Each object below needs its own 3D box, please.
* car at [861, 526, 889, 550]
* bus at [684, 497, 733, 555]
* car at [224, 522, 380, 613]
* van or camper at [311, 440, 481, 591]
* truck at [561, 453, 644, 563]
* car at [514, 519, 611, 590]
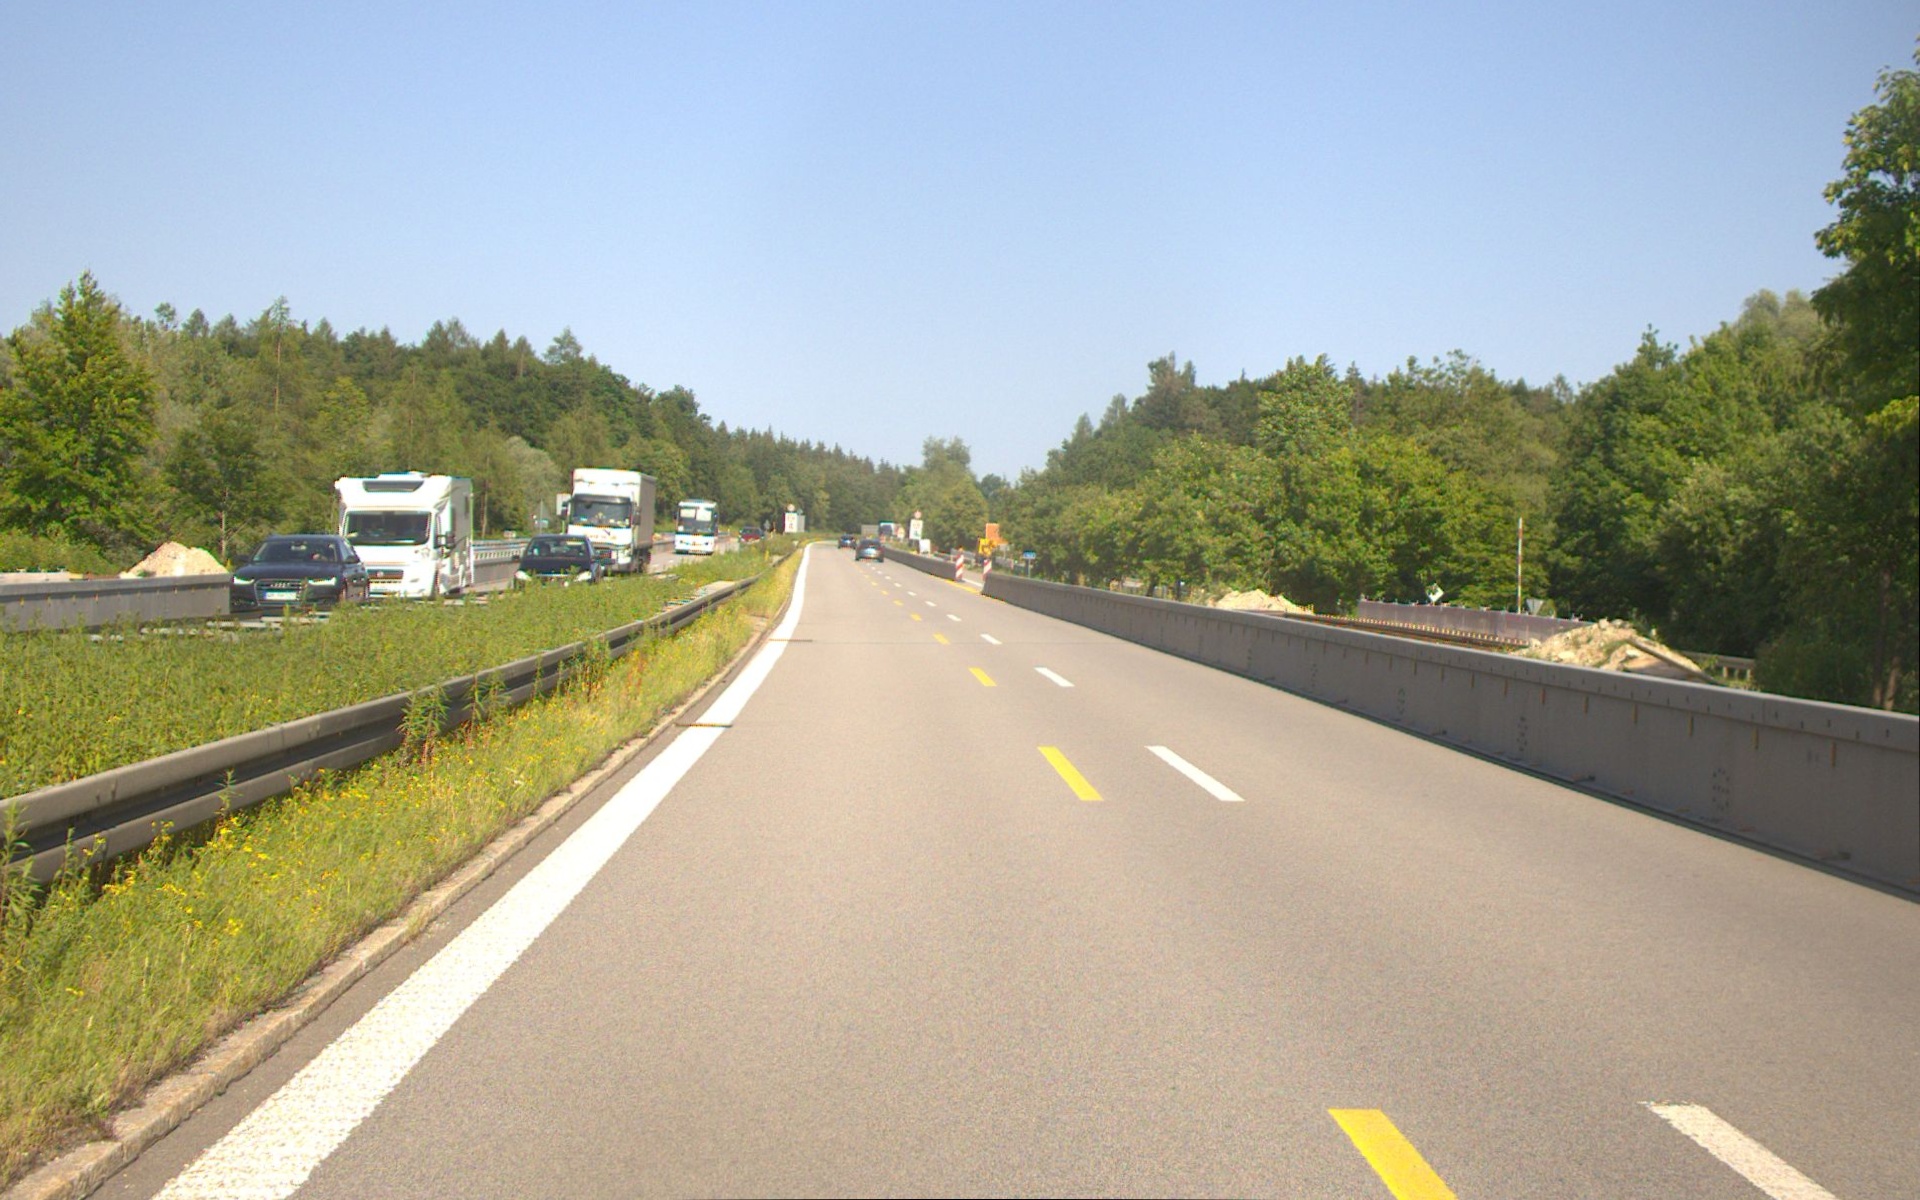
[{"bbox_3d":[-5.554,-4.074,224.763,1.743,1.461,4.294,2,1,-2],"label":"car"},{"bbox_3d":[-16.835,-4.994,231.099,2.881,3.658,12.920,3,1,-3],"label":"bus"},{"bbox_3d":[-11.153,-0.579,58.590,1.741,1.427,5.236,-2,1,-1],"label":"car"},{"bbox_3d":[-11.737,-1.751,72.142,2.406,2.940,7.523,1,1,-1],"label":"van or camper"},{"bbox_3d":[-13.640,-3.496,131.425,2.770,4.074,5.476,0,1,-2],"label":"truck"},{"bbox_3d":[-8.836,-1.023,76.690,1.741,1.525,4.000,0,1,-1],"label":"car"}]
